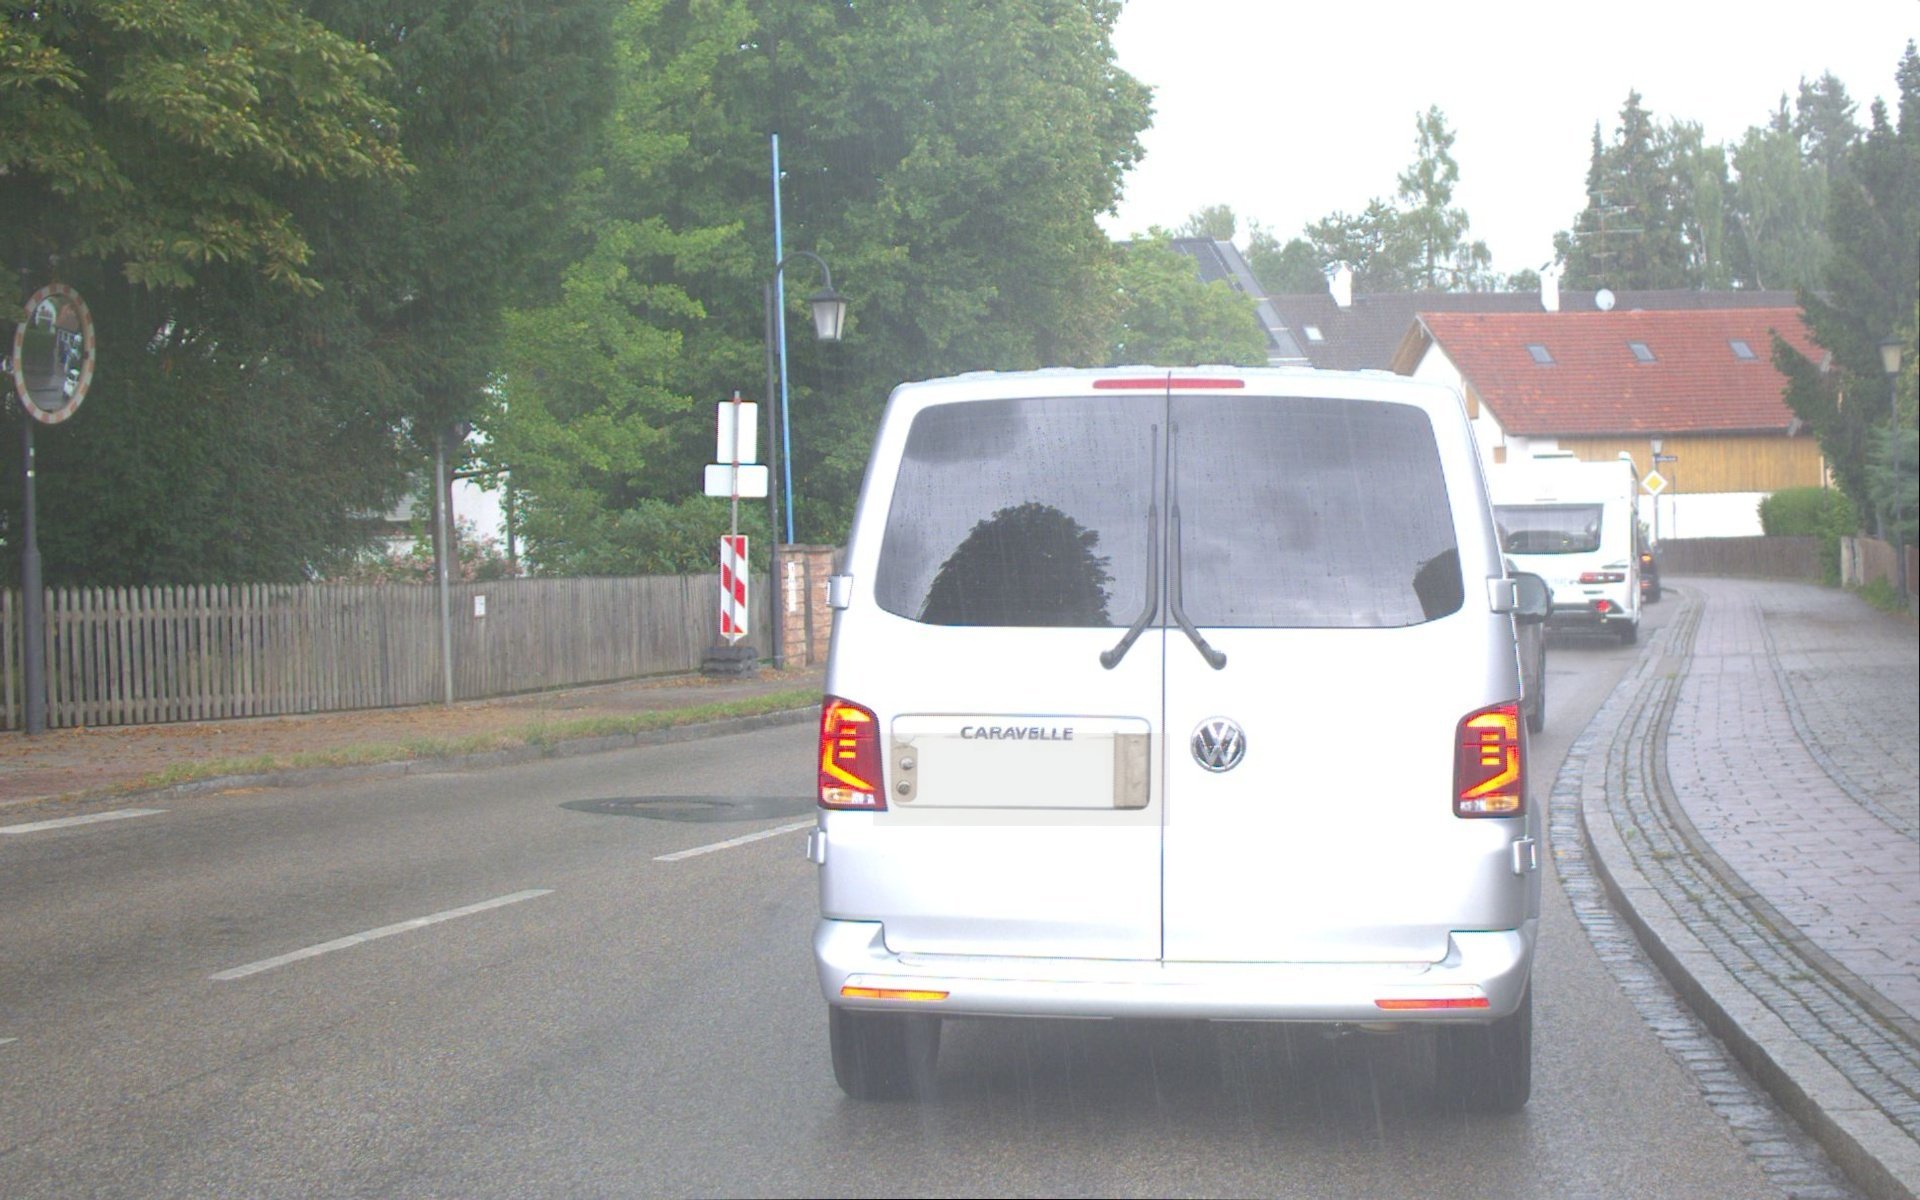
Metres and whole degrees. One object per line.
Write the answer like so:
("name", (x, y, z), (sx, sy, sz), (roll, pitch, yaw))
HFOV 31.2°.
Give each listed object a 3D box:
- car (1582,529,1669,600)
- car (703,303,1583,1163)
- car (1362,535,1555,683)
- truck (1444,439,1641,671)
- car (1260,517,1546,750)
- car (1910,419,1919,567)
("car", (14.664, -0.774, 75.658), (1.801, 1.503, 3.998), (1, 0, 12))
("car", (0.759, 0.286, 10.180), (1.802, 2.007, 3.997), (1, 0, 15))
("car", (5.468, 0.077, 37.379), (1.801, 1.503, 3.998), (1, 0, 12))
("truck", (8.379, -0.625, 48.997), (2.477, 3.063, 6.293), (1, 0, 12))
("car", (3.405, 0.218, 25.844), (1.801, 1.583, 3.998), (1, 0, 12))
("car", (15.040, -1.531, 48.110), (1.993, 2.166, 4.953), (1, 0, -1))
